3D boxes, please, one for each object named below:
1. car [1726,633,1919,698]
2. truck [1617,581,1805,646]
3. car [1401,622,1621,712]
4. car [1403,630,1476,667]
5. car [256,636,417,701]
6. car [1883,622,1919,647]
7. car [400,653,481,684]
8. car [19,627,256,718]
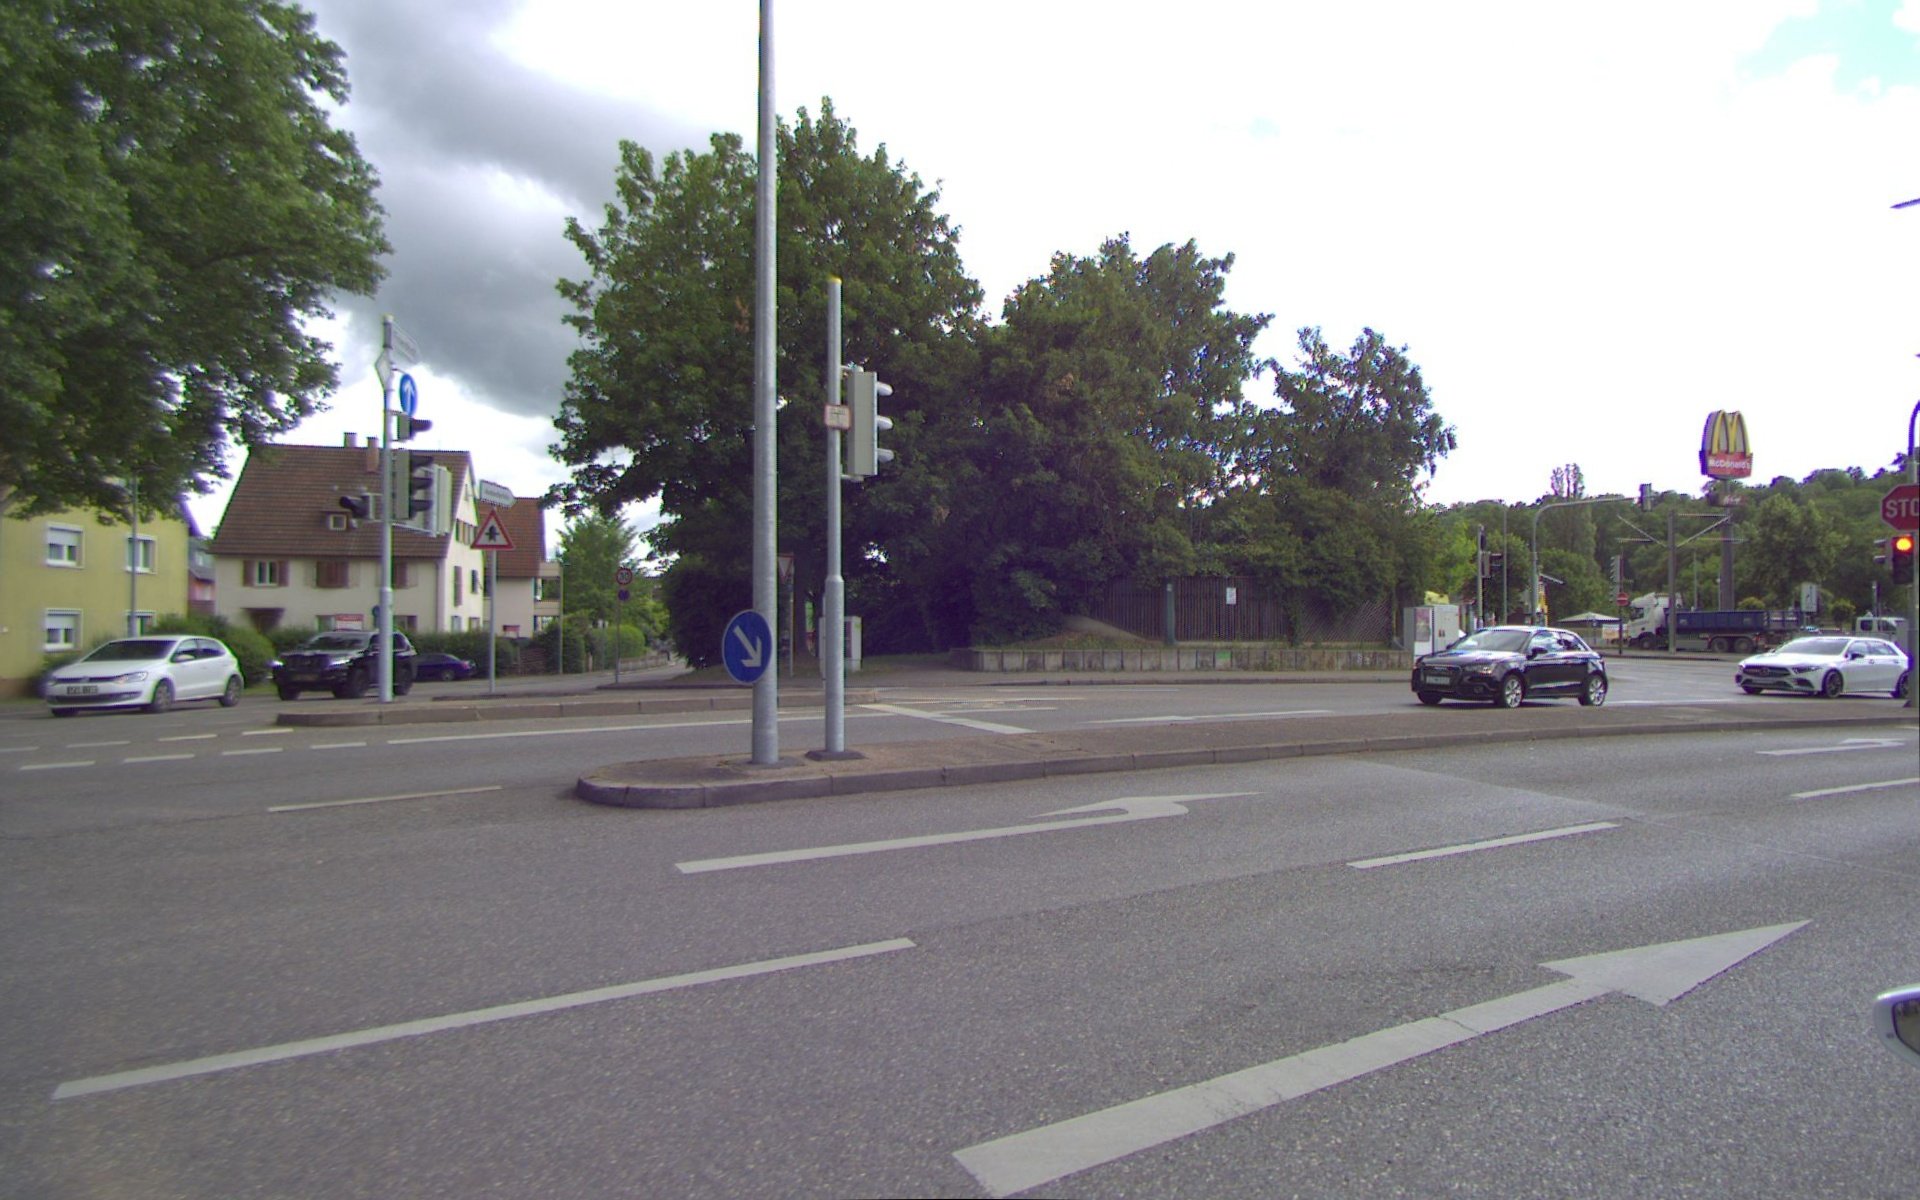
[{"bbox_3d":[20.467,1.498,23.711,4.221,1.424,1.600,0,-1,-16],"label":"car"},{"bbox_3d":[45.194,0.969,60.980,3.166,3.634,9.102,1,-3,-16],"label":"truck"},{"bbox_3d":[9.775,1.111,17.765,3.847,1.435,1.609,1,-1,-29],"label":"car"},{"bbox_3d":[22.046,2.207,46.243,1.636,1.595,3.022,0,-1,-8],"label":"car"},{"bbox_3d":[-16.318,1.769,26.585,1.963,1.566,4.267,1,-3,-7],"label":"car"},{"bbox_3d":[77.821,2.810,81.395,1.971,2.040,3.980,1,-3,-22],"label":"car"},{"bbox_3d":[-26.348,3.463,51.042,3.381,1.427,1.544,0,-1,-12],"label":"car"},{"bbox_3d":[-15.216,1.272,18.871,1.793,1.499,3.848,0,-1,-11],"label":"car"}]
